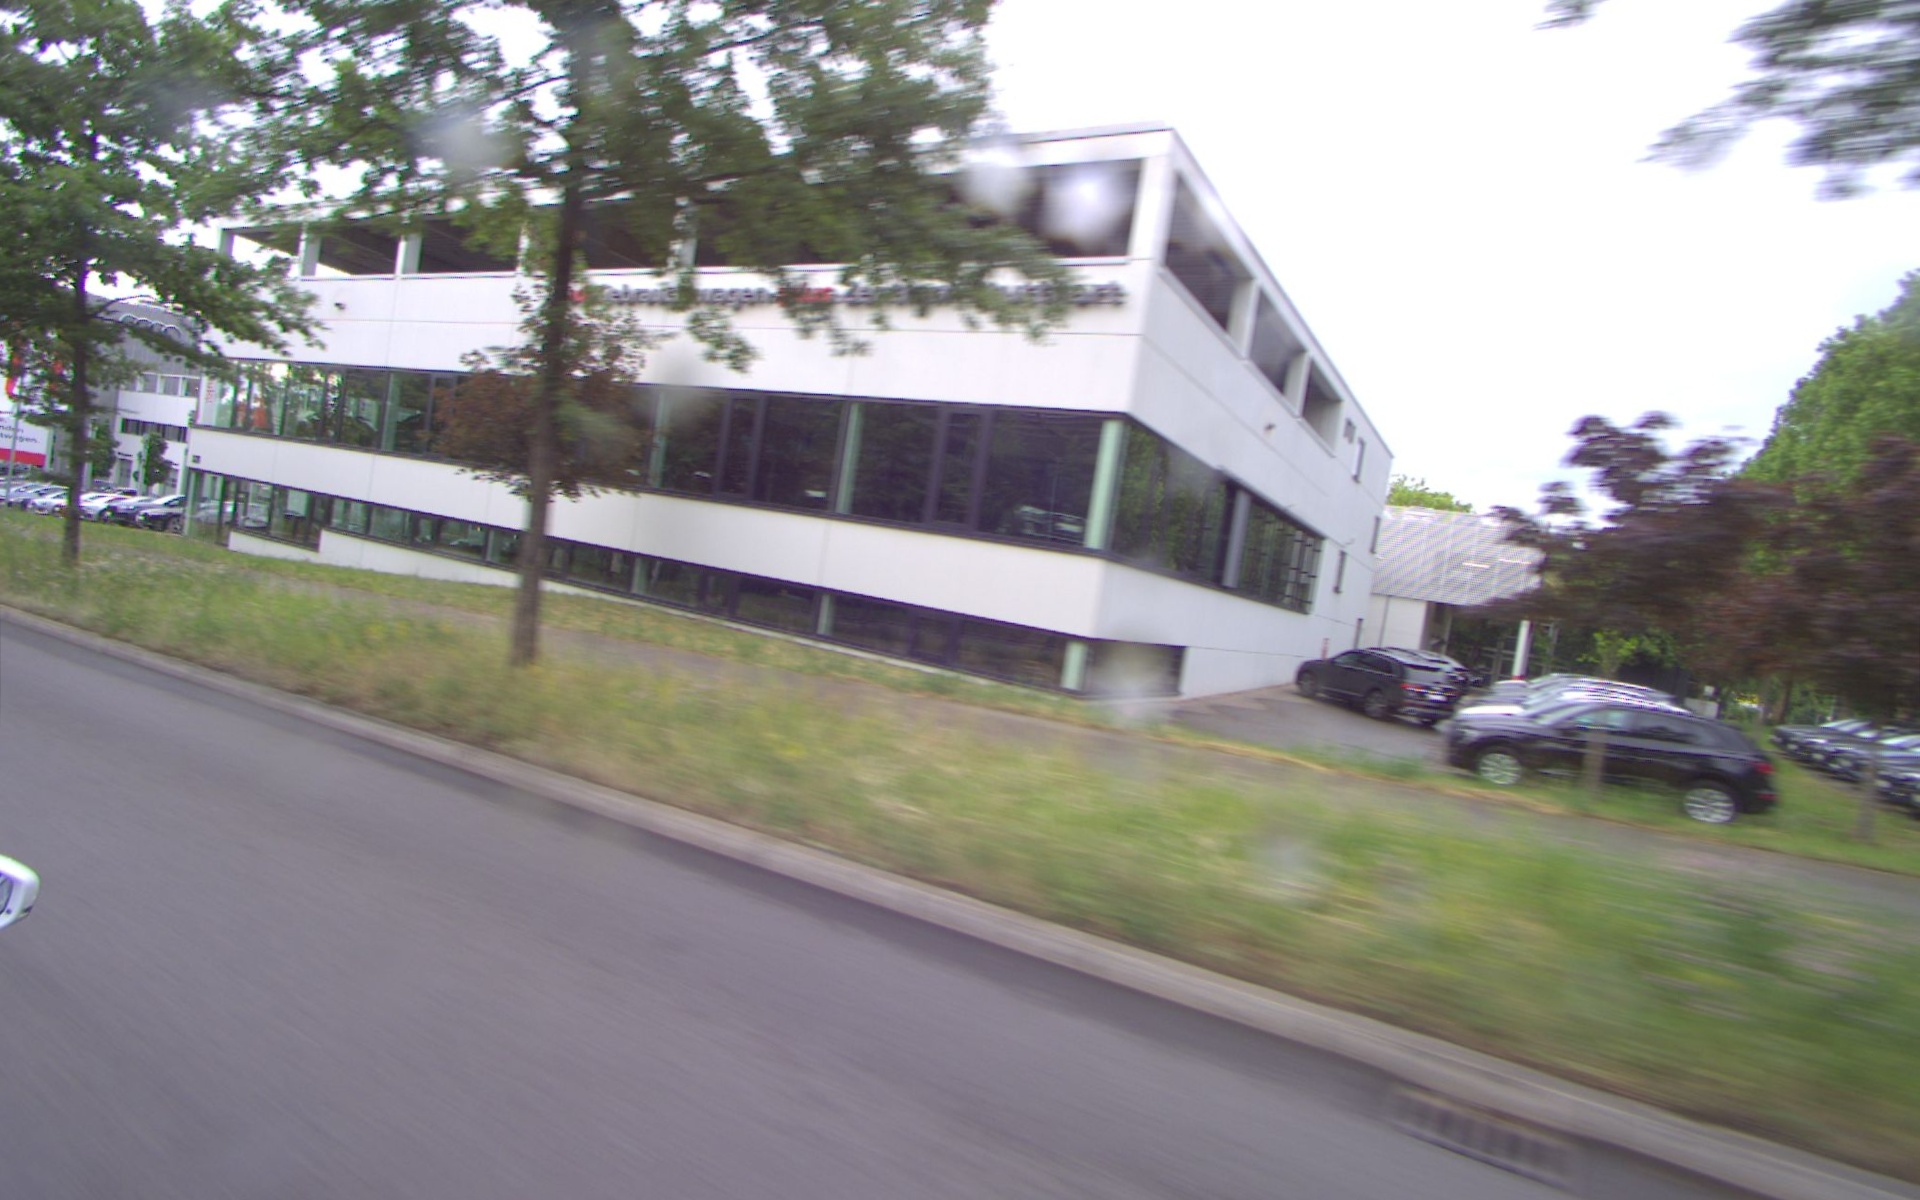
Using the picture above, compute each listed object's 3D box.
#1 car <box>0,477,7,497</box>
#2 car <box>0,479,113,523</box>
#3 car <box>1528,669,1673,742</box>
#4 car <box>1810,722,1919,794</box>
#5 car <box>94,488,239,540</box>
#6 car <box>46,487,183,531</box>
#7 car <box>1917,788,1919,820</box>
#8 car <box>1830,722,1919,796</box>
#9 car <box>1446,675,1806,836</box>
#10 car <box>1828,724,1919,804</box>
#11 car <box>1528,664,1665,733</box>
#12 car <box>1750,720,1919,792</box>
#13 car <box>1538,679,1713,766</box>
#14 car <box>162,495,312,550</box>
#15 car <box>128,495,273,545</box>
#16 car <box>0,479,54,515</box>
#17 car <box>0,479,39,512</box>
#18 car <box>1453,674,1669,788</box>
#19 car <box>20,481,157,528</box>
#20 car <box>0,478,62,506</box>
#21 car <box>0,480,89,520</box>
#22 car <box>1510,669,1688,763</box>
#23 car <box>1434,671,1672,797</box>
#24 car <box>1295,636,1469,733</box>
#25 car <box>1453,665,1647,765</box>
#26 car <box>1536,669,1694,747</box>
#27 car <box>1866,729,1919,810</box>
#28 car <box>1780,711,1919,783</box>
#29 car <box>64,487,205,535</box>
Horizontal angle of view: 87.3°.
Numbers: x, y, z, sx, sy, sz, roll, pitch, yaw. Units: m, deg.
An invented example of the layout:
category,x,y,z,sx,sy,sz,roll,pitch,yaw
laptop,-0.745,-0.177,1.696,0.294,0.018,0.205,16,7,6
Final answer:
category,x,y,z,sx,sy,sz,roll,pitch,yaw
car,-81.545,-9.675,82.810,1.795,1.592,4.114,8,-1,30
car,-46.142,-5.036,50.980,1.898,1.547,4.467,7,0,30
car,19.771,3.263,31.238,3.581,1.695,1.701,6,-2,31
car,24.100,4.116,25.460,3.581,1.501,1.701,6,-2,31
car,-33.874,-3.647,43.083,2.006,1.519,4.402,6,0,31
car,-38.708,-4.132,46.162,1.898,1.365,4.402,6,0,30
car,19.037,3.426,17.114,3.581,1.501,1.701,6,-2,31
car,22.853,3.854,23.388,3.581,1.501,1.701,6,-2,31
car,10.580,2.378,16.416,4.512,1.697,1.905,6,1,31
car,21.197,3.682,21.533,3.581,1.501,1.701,6,-2,31
car,20.760,3.216,32.980,3.581,1.695,1.701,6,-2,31
car,26.315,4.634,30.330,3.581,1.501,1.701,6,-2,31
car,17.392,3.186,26.509,3.581,1.695,1.701,6,-2,31
car,-28.906,-3.075,40.369,1.898,1.499,4.405,7,-1,30
car,-31.126,-3.266,41.346,1.805,1.395,4.326,6,0,28
car,-51.297,-5.662,53.420,1.795,1.613,4.285,7,-1,29
car,-53.826,-5.968,55.135,1.897,1.569,4.472,7,-1,26
car,12.424,2.637,21.007,3.581,1.698,1.698,6,2,31
car,-41.363,-4.501,47.845,1.898,1.473,4.469,6,-1,30
car,-74.675,-8.661,80.291,1.664,1.593,4.112,7,-1,30
car,-48.656,-5.300,52.466,1.898,1.570,4.467,7,0,30
car,15.686,2.794,24.883,3.462,1.698,1.698,6,2,31
car,11.129,2.446,19.091,3.581,1.698,1.699,6,1,31
car,11.347,2.217,27.430,1.678,1.698,4.509,9,3,-17
car,13.504,2.624,23.206,3.581,1.694,1.703,6,-3,31
car,18.829,3.099,29.120,3.581,1.695,1.701,6,-2,31
car,20.265,3.543,19.514,3.581,1.501,1.701,6,-2,31
car,25.184,4.092,27.764,3.581,1.501,1.701,6,-2,31
car,-36.422,-3.907,44.507,1.859,1.445,4.402,6,0,31
